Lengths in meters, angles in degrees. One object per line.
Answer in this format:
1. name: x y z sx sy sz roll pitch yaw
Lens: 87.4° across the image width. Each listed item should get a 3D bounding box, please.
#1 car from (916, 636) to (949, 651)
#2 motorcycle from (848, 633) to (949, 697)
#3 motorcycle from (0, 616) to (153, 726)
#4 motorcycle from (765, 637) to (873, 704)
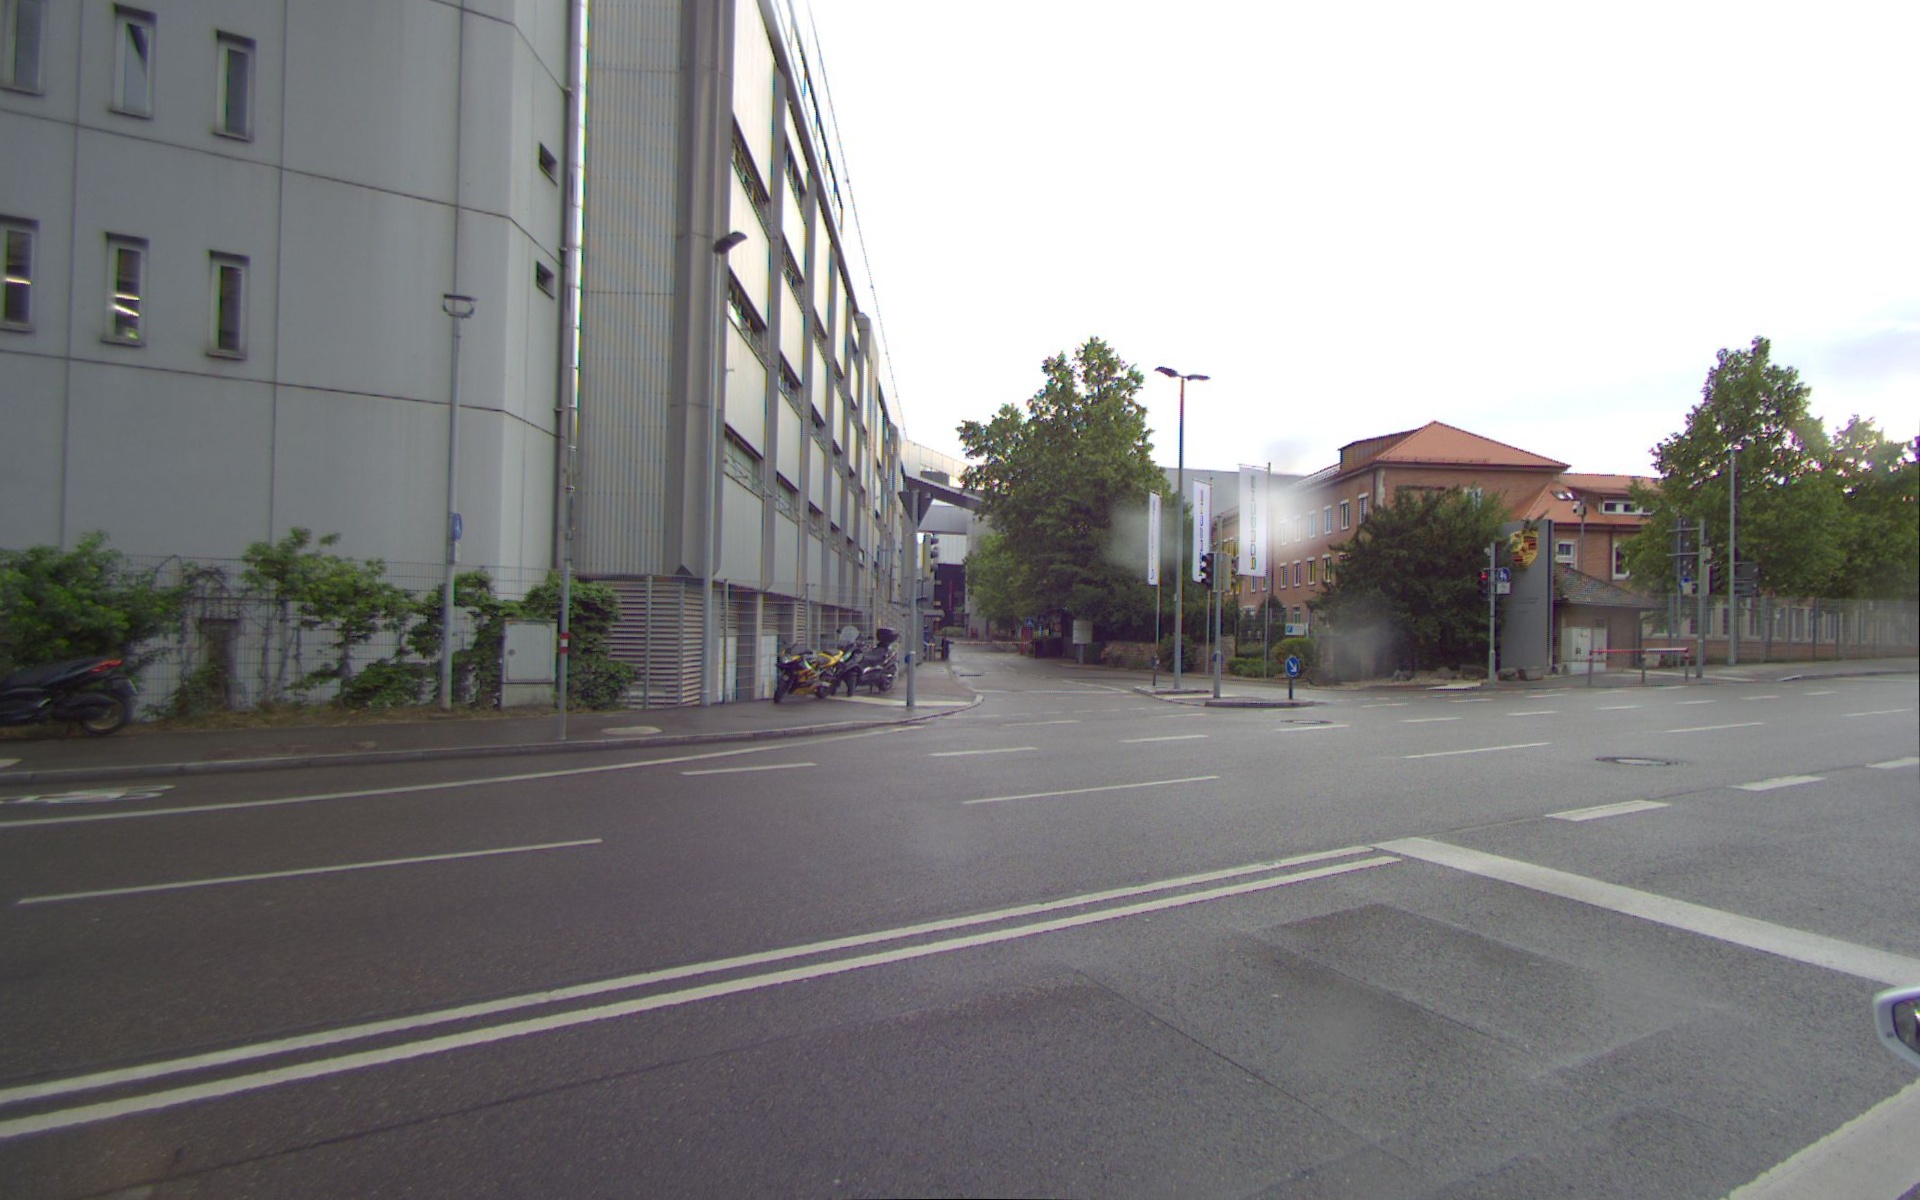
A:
1. car: -3.578 5.697 131.146 3.913 1.849 1.955 2 0 -31
2. motorcycle: -1.336 1.426 22.689 1.008 1.355 2.772 -1 -2 27
3. motorcycle: -11.079 0.827 11.994 2.133 1.263 0.780 1 -2 -32
4. motorcycle: -2.789 1.374 20.252 0.759 1.234 2.504 0 -1 30
